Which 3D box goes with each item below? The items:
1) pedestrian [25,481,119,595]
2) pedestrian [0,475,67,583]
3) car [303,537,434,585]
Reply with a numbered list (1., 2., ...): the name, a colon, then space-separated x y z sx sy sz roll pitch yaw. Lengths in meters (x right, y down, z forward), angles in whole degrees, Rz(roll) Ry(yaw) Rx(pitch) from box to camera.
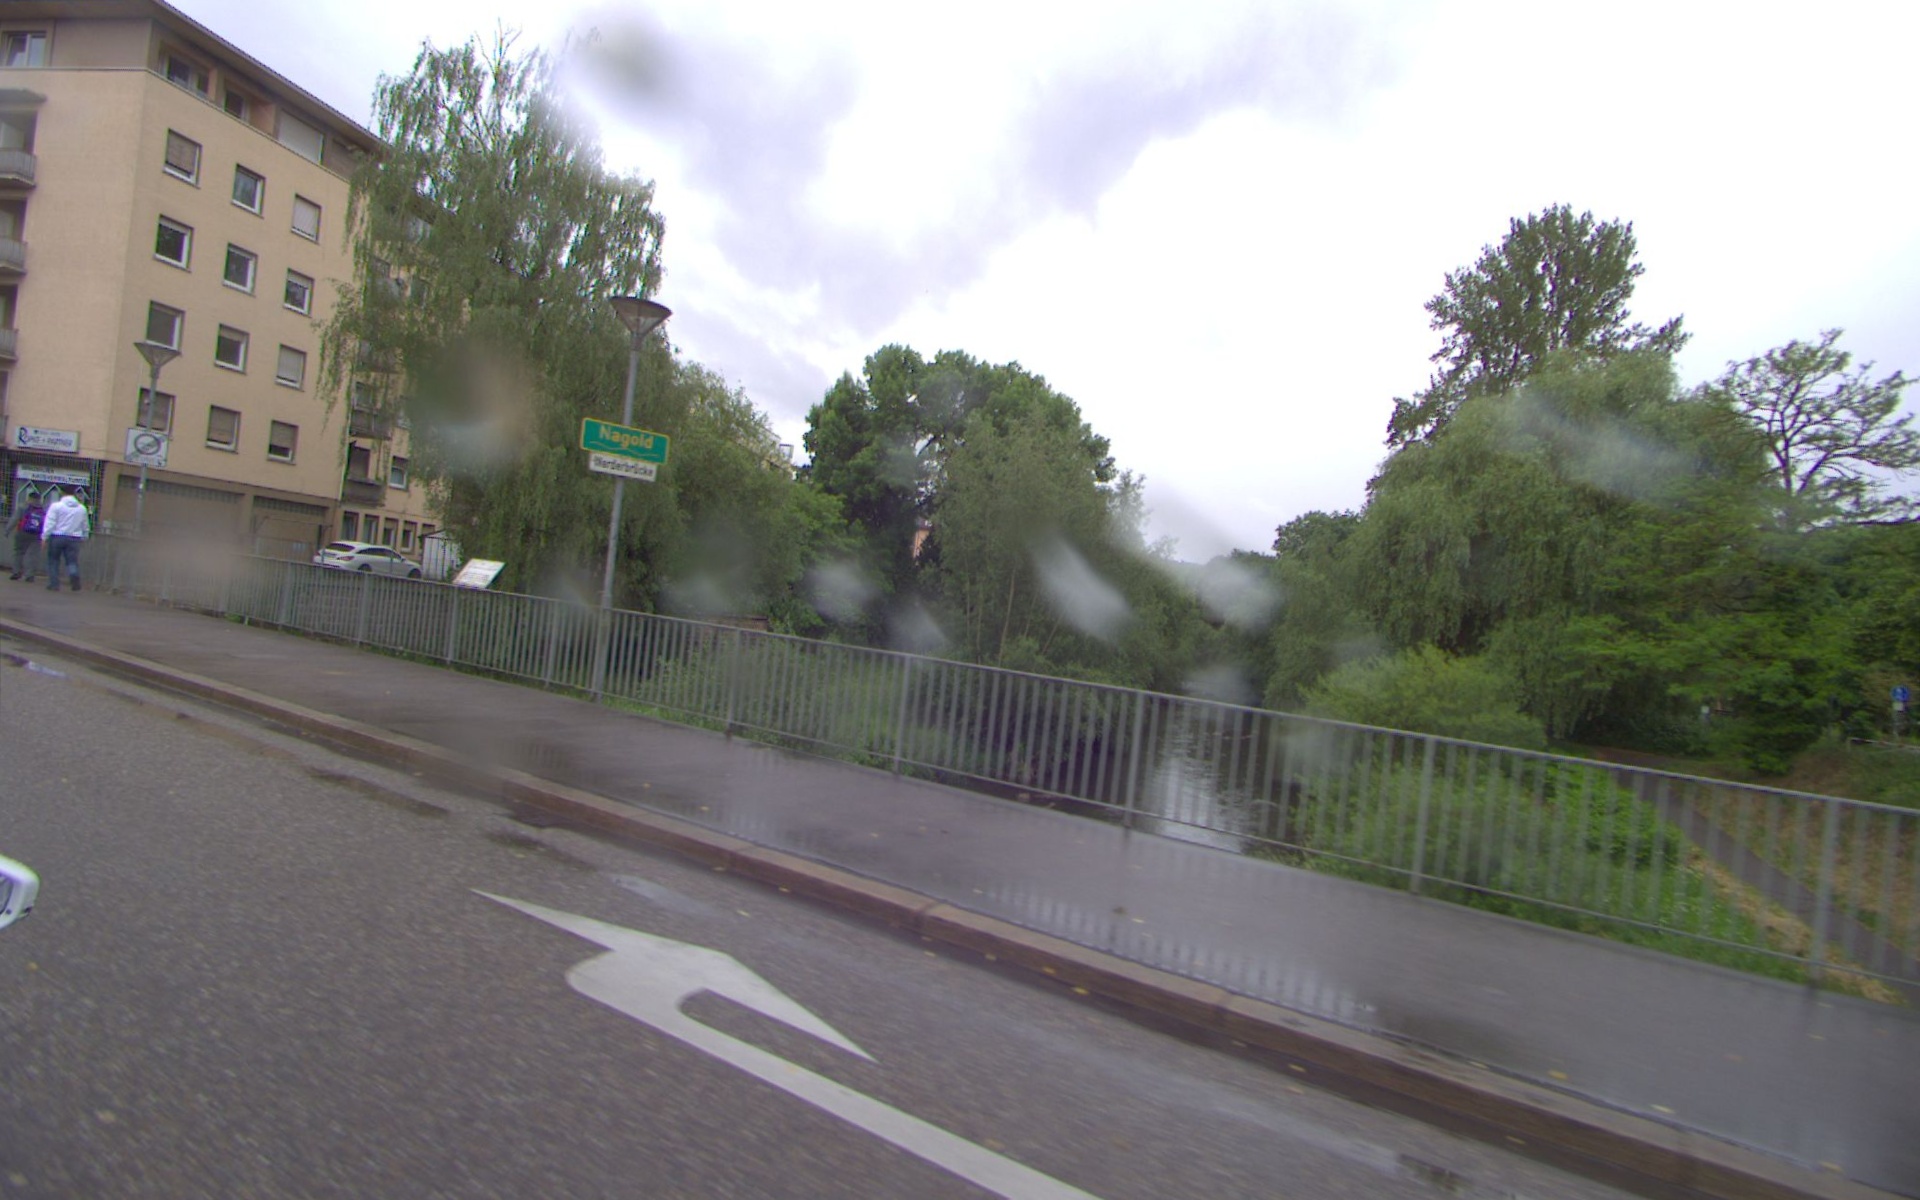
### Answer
1. pedestrian: -14.874 -1.035 16.856 1.043 1.774 0.780 6 0 31
2. pedestrian: -16.917 -1.290 18.265 0.768 1.832 0.761 7 1 31
3. car: -23.762 -1.525 40.611 1.782 1.393 4.455 9 0 15
